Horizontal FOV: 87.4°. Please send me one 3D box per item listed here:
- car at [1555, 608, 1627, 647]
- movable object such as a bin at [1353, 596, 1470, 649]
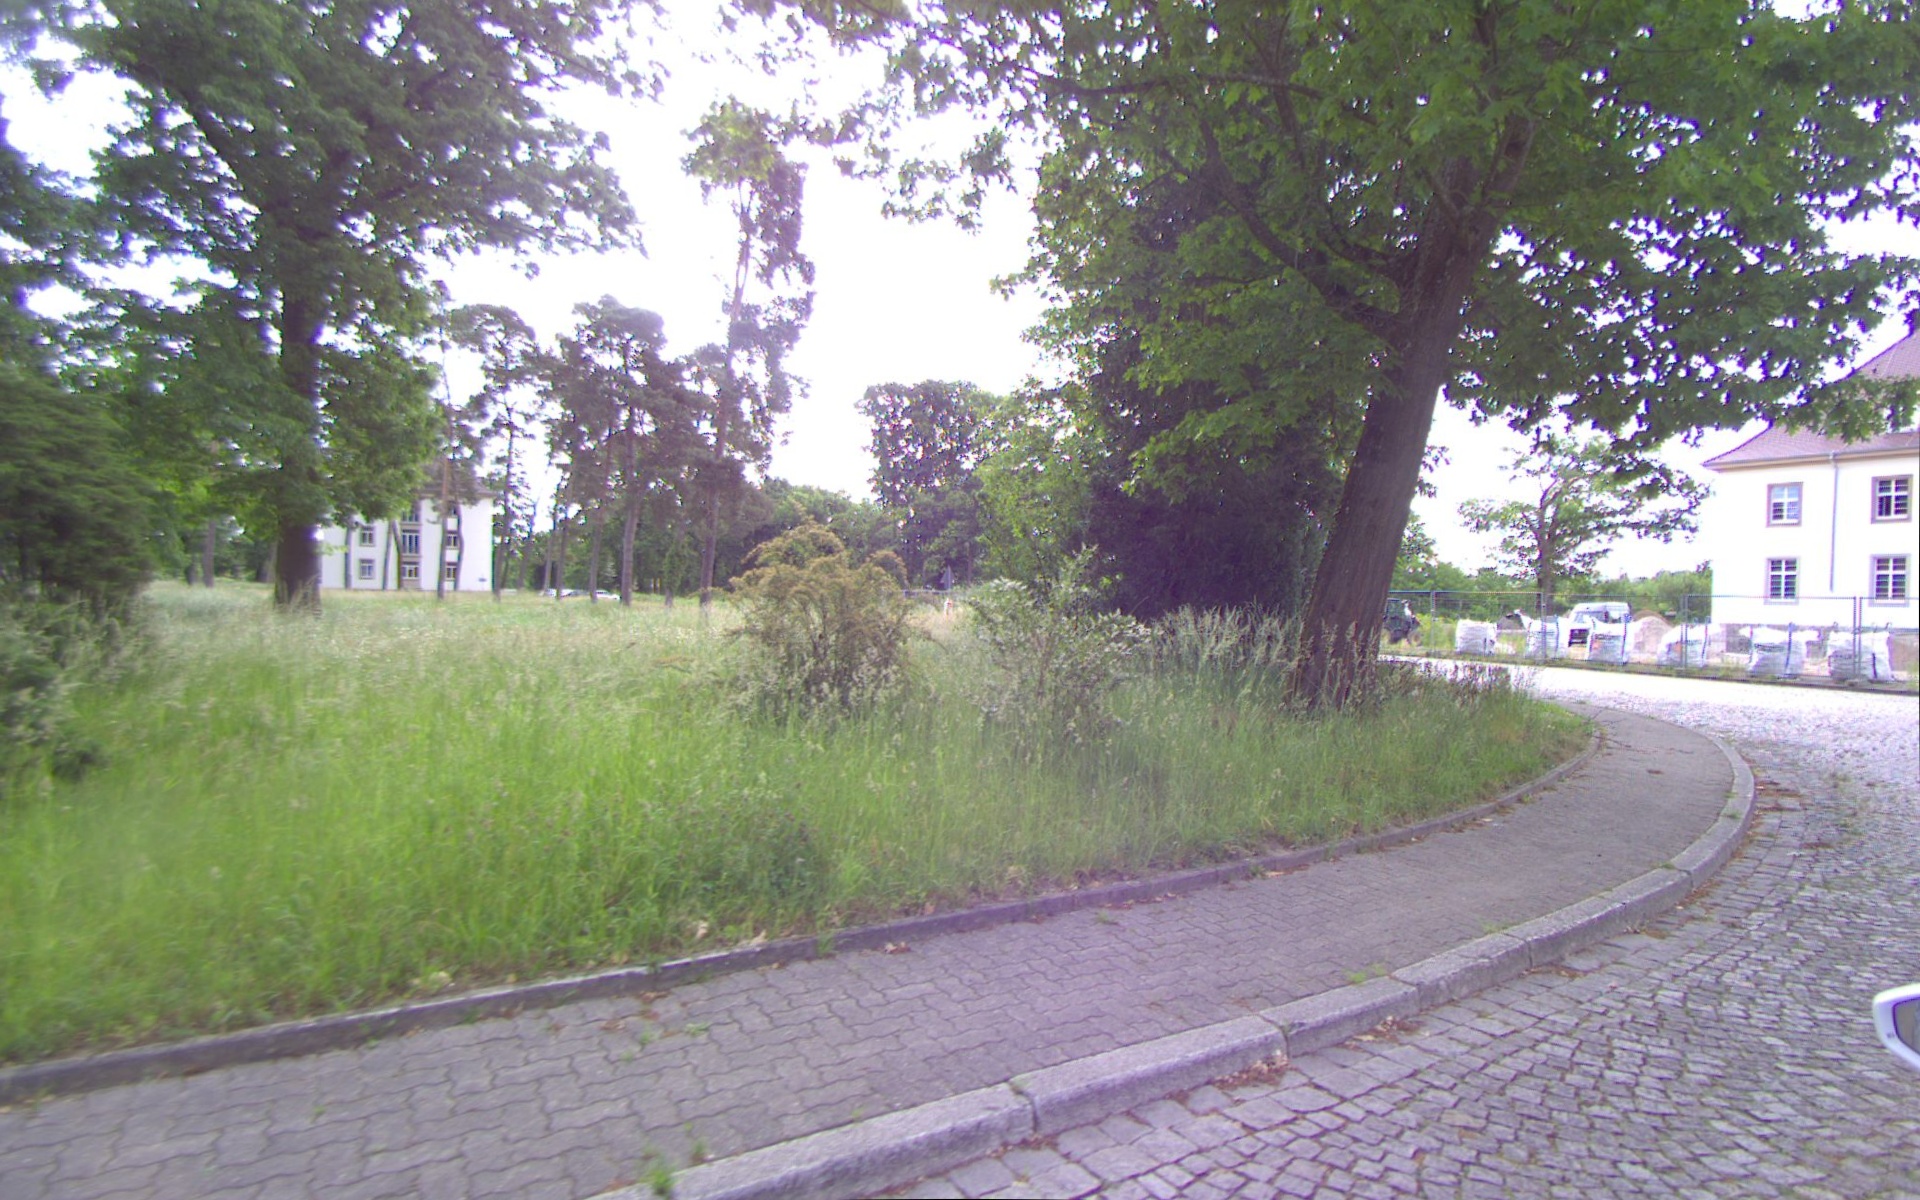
[{"bbox_3d":[36.943,1.610,58.756,4.857,2.179,2.051,1,0,-39],"label":"car"},{"bbox_3d":[23.560,1.125,52.626,1.979,2.590,5.297,1,0,-33],"label":"movable object such as a bin"}]
